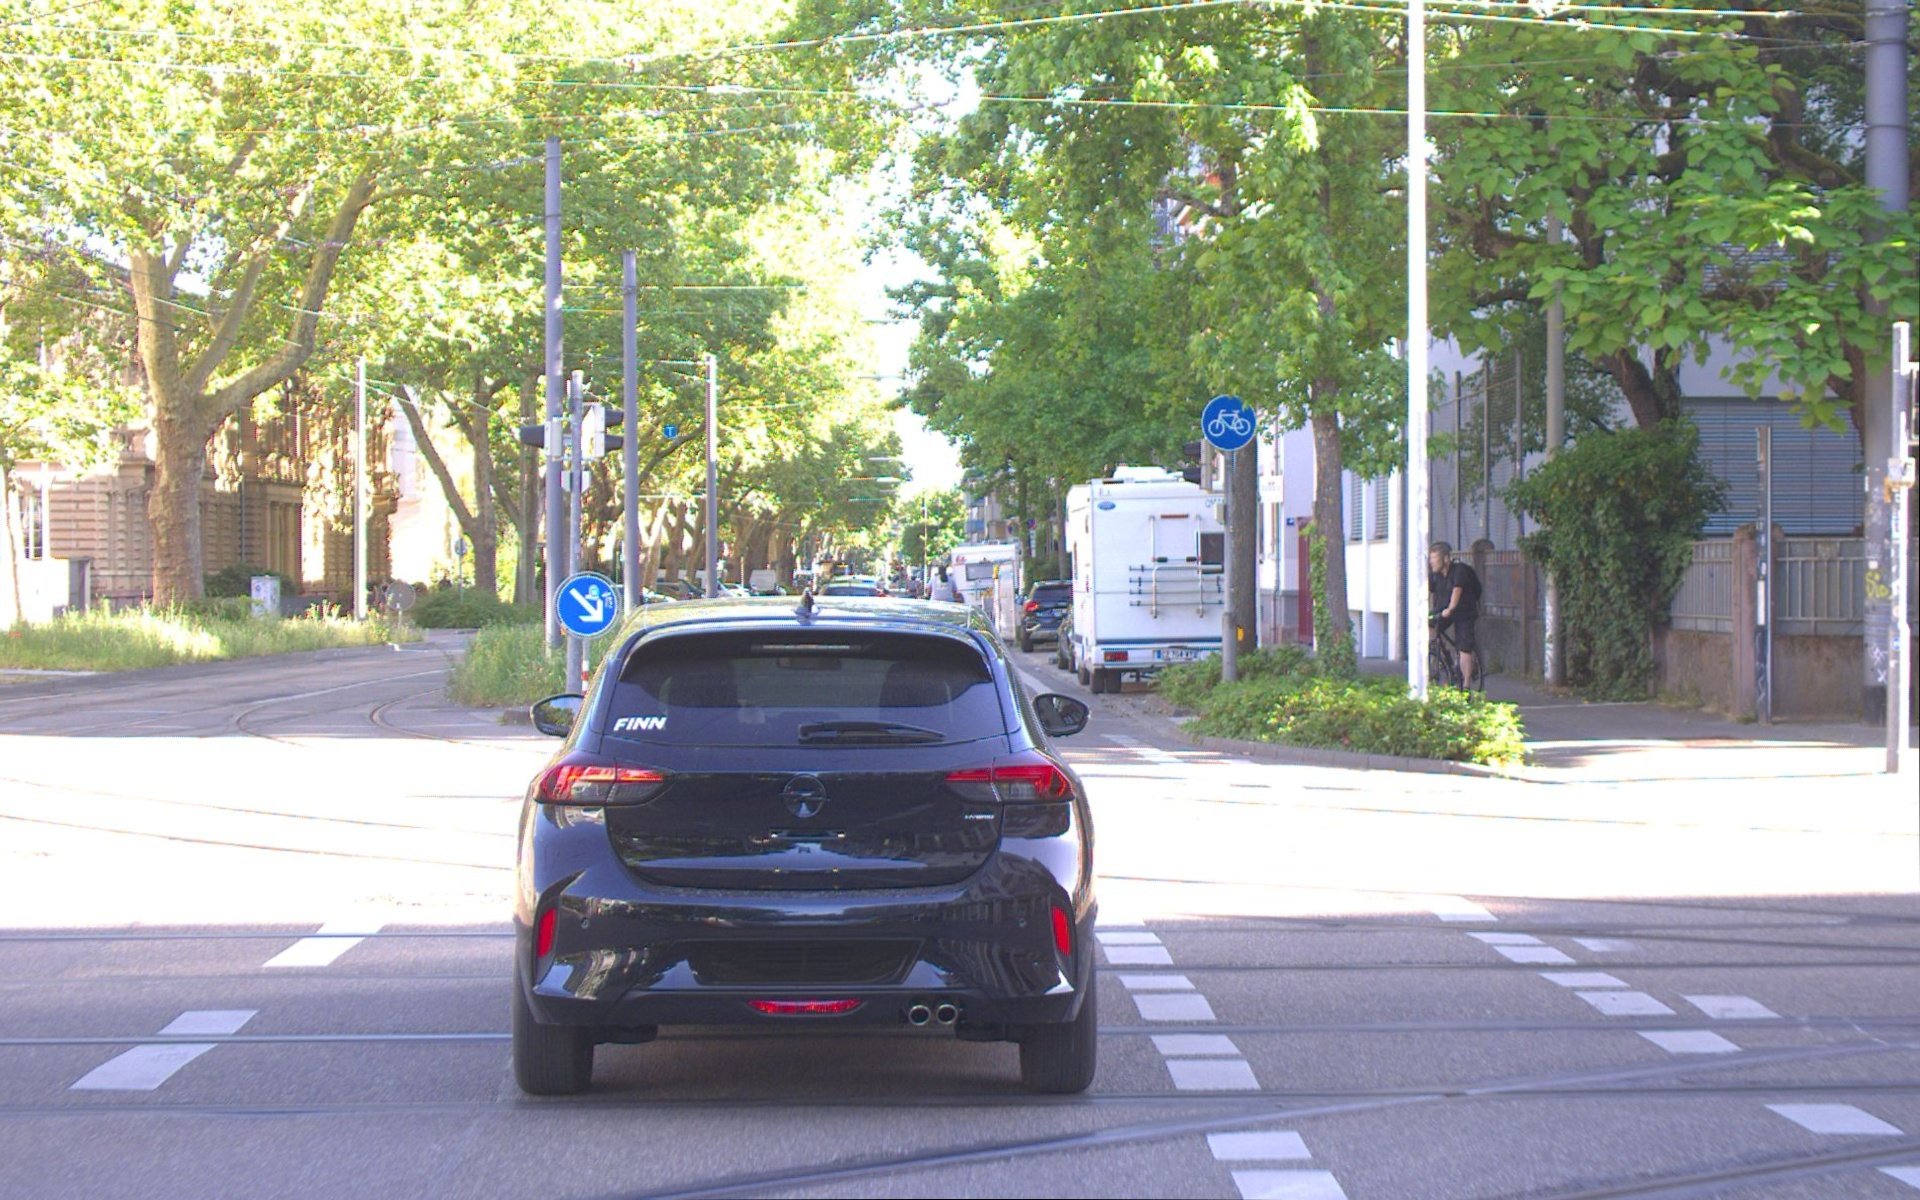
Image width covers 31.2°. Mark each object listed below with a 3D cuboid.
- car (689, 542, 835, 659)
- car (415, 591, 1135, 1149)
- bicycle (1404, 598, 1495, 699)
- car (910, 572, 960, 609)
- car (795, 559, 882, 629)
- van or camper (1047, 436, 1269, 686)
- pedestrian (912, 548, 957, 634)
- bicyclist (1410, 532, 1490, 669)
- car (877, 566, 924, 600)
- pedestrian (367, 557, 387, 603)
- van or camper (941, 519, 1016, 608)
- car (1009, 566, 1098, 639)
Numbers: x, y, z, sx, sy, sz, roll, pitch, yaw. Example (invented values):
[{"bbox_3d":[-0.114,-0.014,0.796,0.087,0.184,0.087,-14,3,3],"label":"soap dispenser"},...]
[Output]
[{"bbox_3d":[-2.962,-0.017,52.192,1.993,1.622,4.470,2,0,-1],"label":"car"},{"bbox_3d":[-0.474,0.716,11.307,1.905,1.420,4.215,1,1,1],"label":"car"},{"bbox_3d":[5.444,0.525,38.131,0.640,1.066,1.949,0,1,19],"label":"bicycle"},{"bbox_3d":[-0.974,-0.378,136.174,1.905,1.420,4.215,0,1,1],"label":"car"},{"bbox_3d":[-2.724,-0.146,77.780,1.790,1.505,3.874,-1,1,0],"label":"car"},{"bbox_3d":[2.653,-0.537,48.160,2.375,3.114,7.551,-3,1,-1],"label":"van or camper"},{"bbox_3d":[-0.599,-0.219,81.775,1.036,2.017,1.212,0,0,-1],"label":"pedestrian"},{"bbox_3d":[5.434,0.000,38.124,0.749,1.505,0.701,0,0,19],"label":"bicyclist"},{"bbox_3d":[-2.524,-0.724,147.484,1.905,1.420,4.215,0,1,1],"label":"car"},{"bbox_3d":[-22.088,-0.768,130.246,0.618,1.727,0.596,2,0,-1],"label":"pedestrian"},{"bbox_3d":[0.661,-1.277,121.479,2.486,2.983,5.434,2,0,1],"label":"van or camper"},{"bbox_3d":[2.012,0.033,74.987,1.790,1.505,3.874,-1,1,0],"label":"car"}]
